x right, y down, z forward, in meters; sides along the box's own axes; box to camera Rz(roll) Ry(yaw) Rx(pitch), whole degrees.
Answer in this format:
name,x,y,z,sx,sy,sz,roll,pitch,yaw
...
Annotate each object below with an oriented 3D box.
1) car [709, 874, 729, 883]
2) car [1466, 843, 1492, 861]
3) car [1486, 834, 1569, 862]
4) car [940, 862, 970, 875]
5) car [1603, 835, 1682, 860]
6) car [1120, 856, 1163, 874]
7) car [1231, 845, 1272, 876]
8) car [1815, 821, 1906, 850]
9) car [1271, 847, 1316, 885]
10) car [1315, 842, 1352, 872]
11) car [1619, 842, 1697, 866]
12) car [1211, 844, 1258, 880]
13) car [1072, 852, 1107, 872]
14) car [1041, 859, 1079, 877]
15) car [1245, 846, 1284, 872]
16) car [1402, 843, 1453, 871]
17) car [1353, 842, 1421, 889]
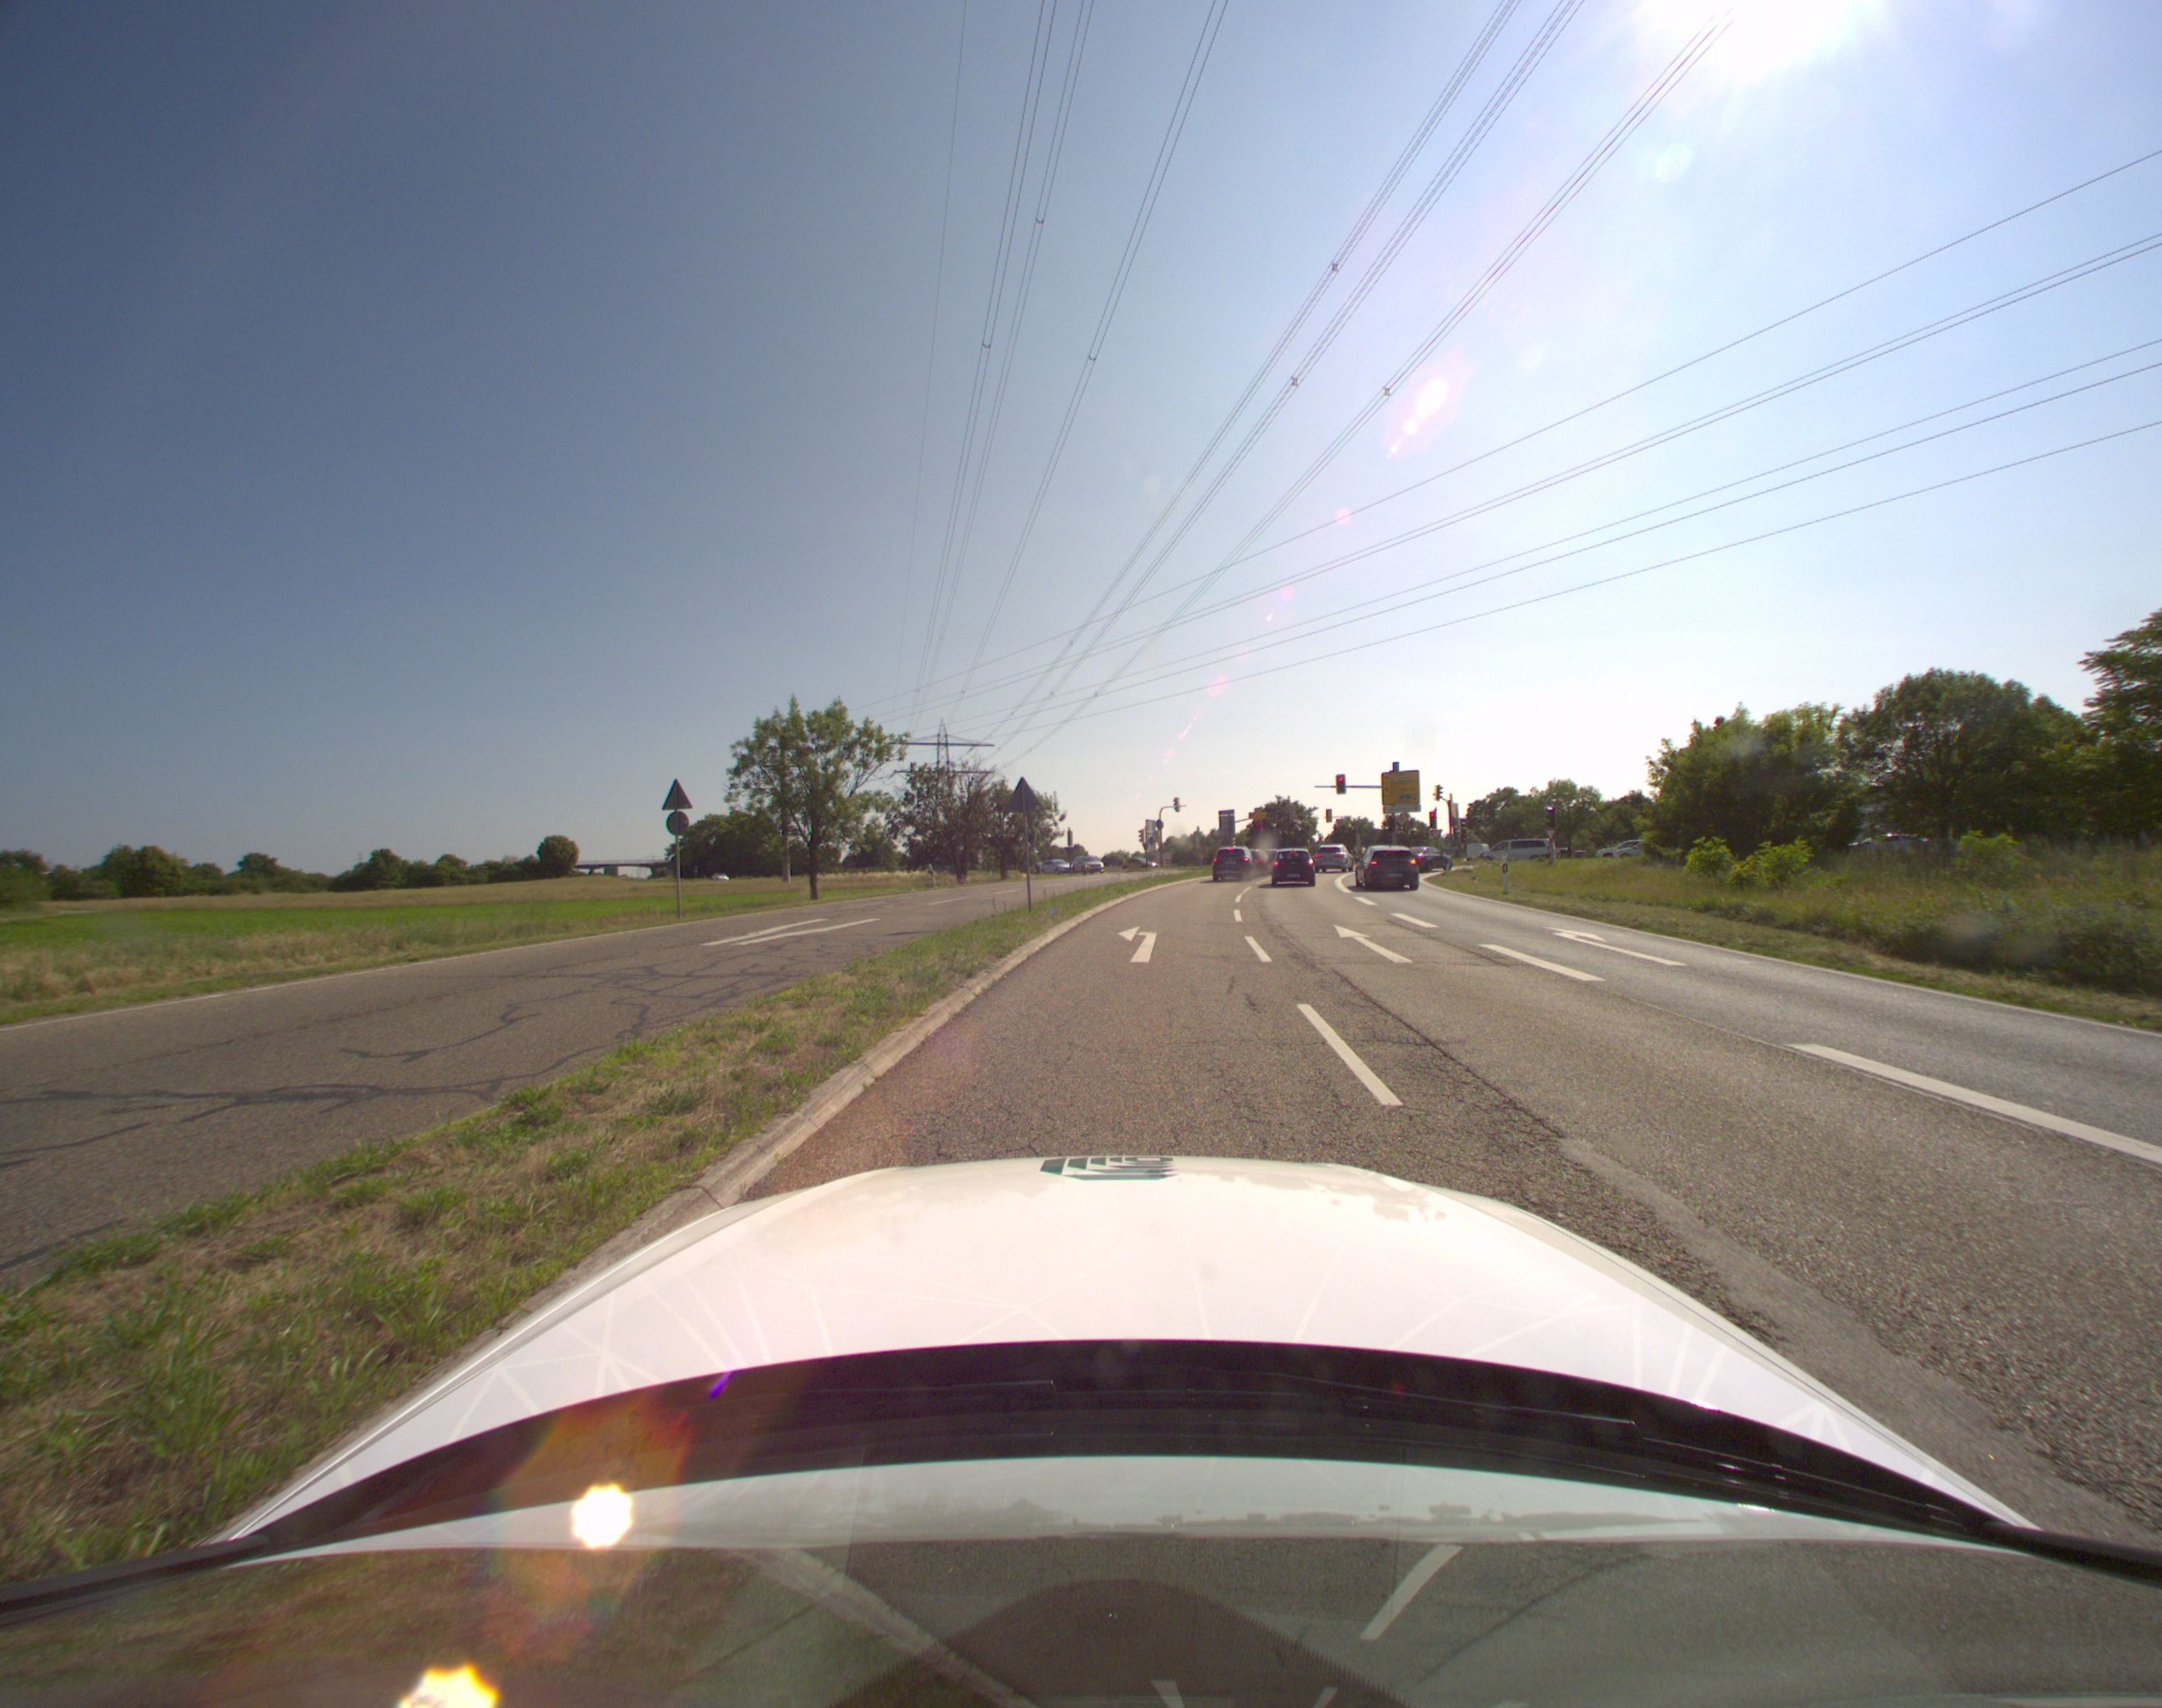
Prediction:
name,x,y,z,sx,sy,sz,roll,pitch,yaw
car,-68.480,4.720,154.116,1.831,1.651,4.702,0,-1,-45
car,49.221,-0.198,100.654,1.911,2.137,4.669,0,0,39
car,32.103,-0.391,58.629,4.885,1.918,2.012,-1,0,43
car,-16.208,1.876,104.771,1.831,1.651,3.950,-1,-1,-45
car,38.923,-0.434,56.492,4.280,1.519,1.819,-2,-1,43
car,6.033,1.097,81.203,1.831,1.651,3.950,-1,-1,-45
car,9.186,0.346,43.721,1.728,1.569,3.641,0,0,18
car,46.700,-1.100,48.853,3.831,1.519,1.818,-3,-1,44
car,8.498,0.448,32.535,1.621,1.448,3.308,-1,0,15
car,15.161,0.172,48.784,1.618,1.677,3.771,-1,0,24
car,37.385,-0.011,52.800,3.863,1.465,1.733,-2,-1,44
car,7.303,0.363,38.540,1.728,1.569,3.640,-2,0,17
car,0.730,0.750,71.242,1.820,1.651,3.973,-1,-1,-19
car,-2.009,1.341,77.420,1.827,1.651,3.959,-1,-1,-32
car,11.234,0.306,49.711,1.727,1.484,3.644,0,0,22
car,19.225,0.122,45.140,1.625,1.385,4.026,-2,0,37
car,10.947,0.368,29.373,1.760,1.517,4.114,-2,0,13
